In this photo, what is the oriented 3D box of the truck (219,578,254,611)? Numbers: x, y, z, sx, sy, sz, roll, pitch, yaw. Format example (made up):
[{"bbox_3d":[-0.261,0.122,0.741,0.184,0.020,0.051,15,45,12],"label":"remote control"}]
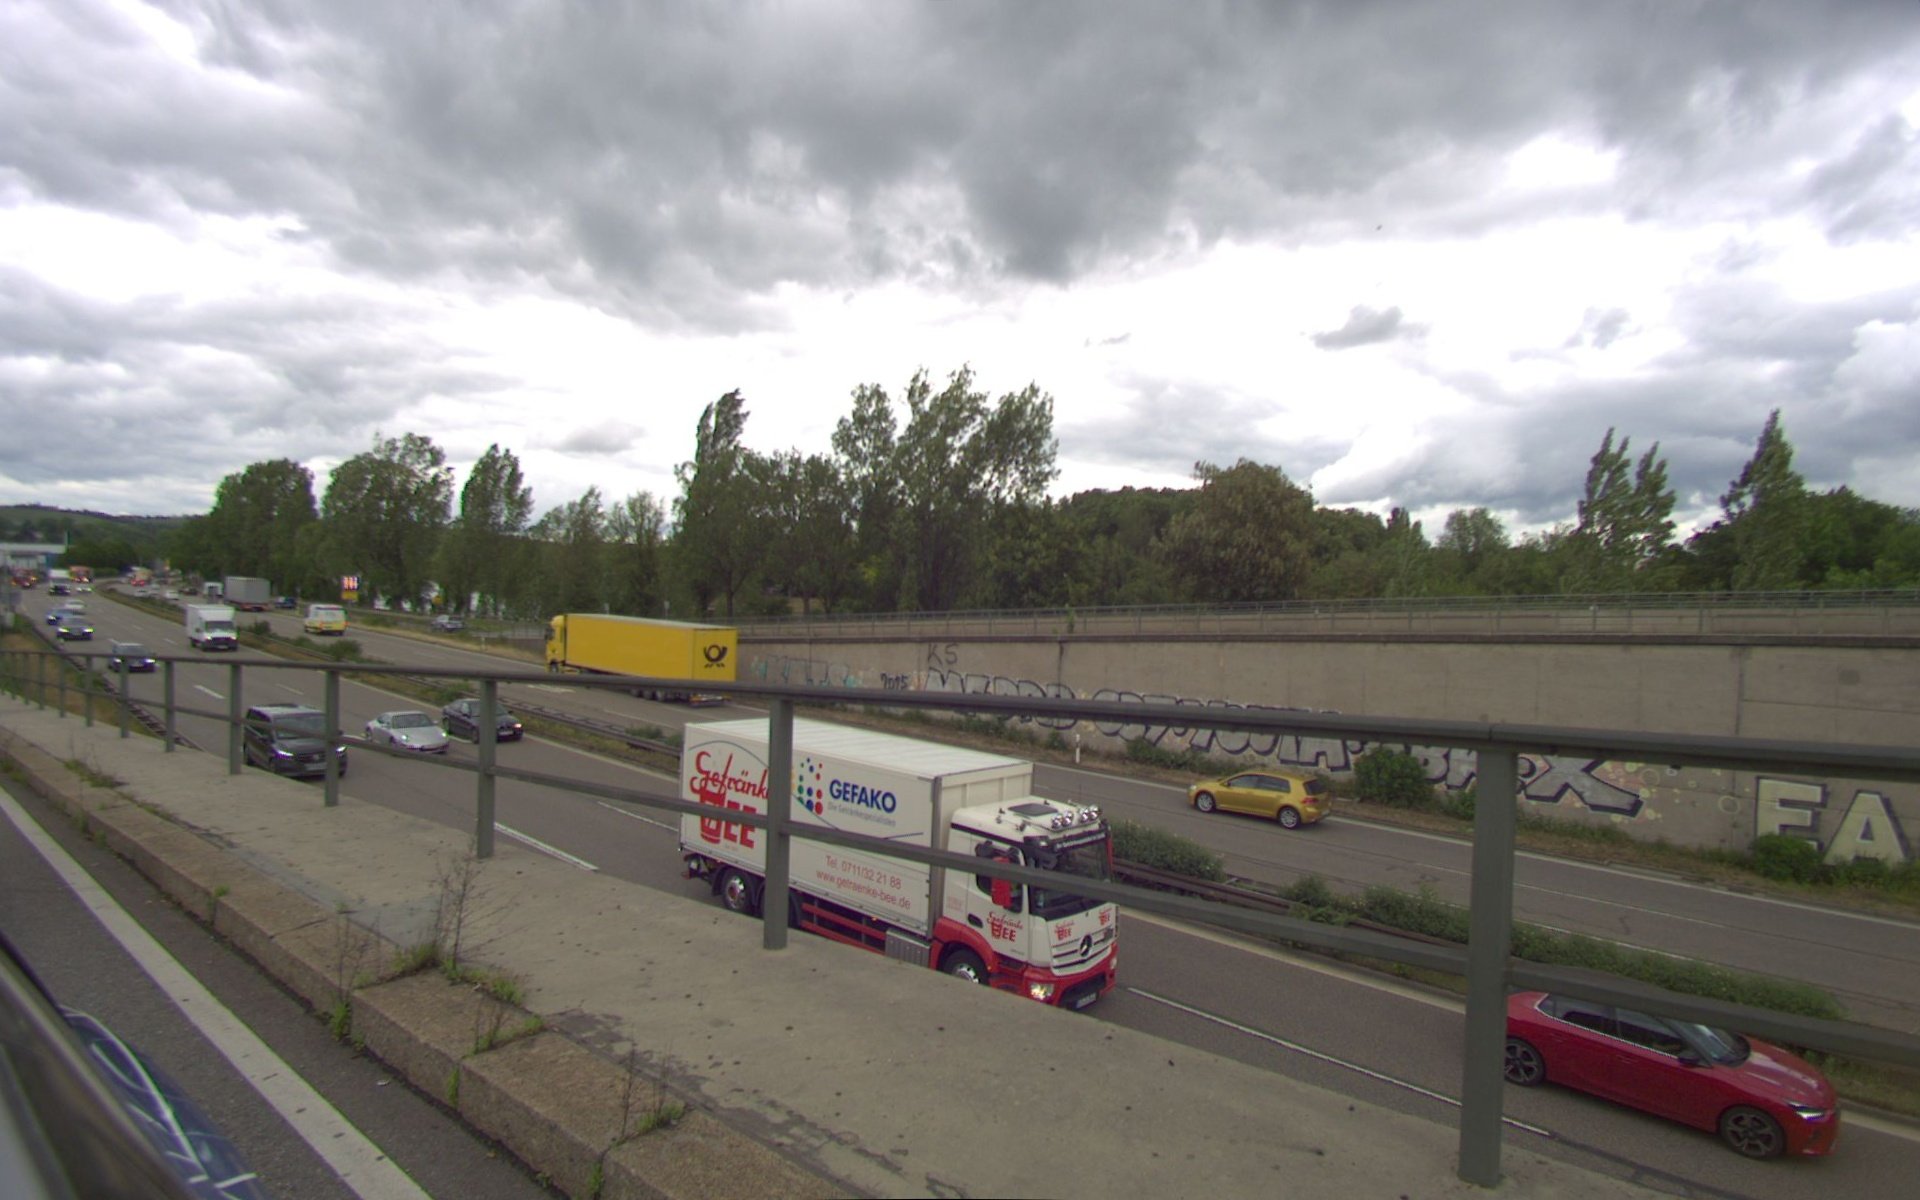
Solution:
[{"bbox_3d":[-95.196,-0.744,133.139,5.939,4.170,2.755,3,1,45],"label":"truck"}]

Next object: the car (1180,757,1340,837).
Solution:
[{"bbox_3d":[8.865,5.780,30.082,4.152,1.468,1.848,2,0,41],"label":"car"}]

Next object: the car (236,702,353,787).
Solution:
[{"bbox_3d":[-20.419,4.333,30.980,4.425,1.853,1.972,2,0,43],"label":"car"}]

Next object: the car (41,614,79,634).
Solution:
[{"bbox_3d":[-79.509,2.093,89.376,3.999,1.544,1.973,2,-1,41],"label":"car"}]

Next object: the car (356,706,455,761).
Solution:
[{"bbox_3d":[-19.413,4.620,35.367,4.153,1.311,1.766,2,0,43],"label":"car"}]

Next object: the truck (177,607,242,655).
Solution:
[{"bbox_3d":[-52.872,2.103,71.208,7.229,3.031,2.210,2,1,41],"label":"truck"}]

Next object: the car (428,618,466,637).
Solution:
[{"bbox_3d":[-48.491,2.567,95.636,4.378,1.664,1.872,1,2,43],"label":"car"}]

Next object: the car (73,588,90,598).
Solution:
[{"bbox_3d":[-157.950,-1.267,182.020,4.439,1.582,1.830,3,2,43],"label":"car"}]

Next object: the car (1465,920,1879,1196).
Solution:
[{"bbox_3d":[9.106,5.676,13.173,4.183,1.590,1.810,2,2,43],"label":"car"}]

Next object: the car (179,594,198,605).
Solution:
[{"bbox_3d":[-142.694,-0.105,187.146,4.562,1.831,1.861,2,-3,42],"label":"car"}]

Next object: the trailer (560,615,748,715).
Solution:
[{"bbox_3d":[-16.794,3.227,54.483,13.683,4.294,3.205,2,0,44],"label":"trailer"}]

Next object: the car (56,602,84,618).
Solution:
[{"bbox_3d":[-92.766,1.031,105.475,3.335,1.539,1.746,2,0,41],"label":"car"}]

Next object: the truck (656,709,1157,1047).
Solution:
[{"bbox_3d":[-1.522,4.293,18.320,9.872,3.552,2.851,2,-1,43],"label":"truck"}]

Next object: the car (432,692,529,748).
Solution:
[{"bbox_3d":[-18.425,4.537,38.801,4.425,1.476,1.838,2,2,43],"label":"car"}]

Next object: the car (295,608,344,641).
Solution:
[{"bbox_3d":[-56.546,2.134,89.288,6.715,2.648,1.972,2,-1,43],"label":"car"}]

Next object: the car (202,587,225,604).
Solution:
[{"bbox_3d":[-127.821,-0.758,173.287,5.180,2.669,1.972,2,-3,42],"label":"car"}]

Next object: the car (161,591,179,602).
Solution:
[{"bbox_3d":[-123.157,-0.570,157.808,4.002,1.431,1.660,3,0,44],"label":"car"}]

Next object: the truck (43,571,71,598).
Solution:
[{"bbox_3d":[-145.791,-2.489,163.370,2.968,4.140,5.879,3,0,-44],"label":"truck"}]

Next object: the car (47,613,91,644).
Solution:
[{"bbox_3d":[-65.093,2.084,73.942,4.001,2.029,1.971,2,-1,43],"label":"car"}]

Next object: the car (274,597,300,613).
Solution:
[{"bbox_3d":[-92.216,0.694,138.658,1.970,1.914,4.587,6,-3,-44],"label":"car"}]

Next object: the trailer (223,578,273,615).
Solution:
[{"bbox_3d":[-90.429,-0.501,128.371,13.772,4.170,2.755,3,1,45],"label":"trailer"}]

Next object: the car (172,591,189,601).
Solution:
[{"bbox_3d":[-155.321,-0.745,201.598,4.562,1.831,1.861,2,-3,42],"label":"car"}]

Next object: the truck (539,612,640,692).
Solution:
[{"bbox_3d":[-21.733,2.950,59.231,5.805,4.213,3.205,2,0,43],"label":"truck"}]

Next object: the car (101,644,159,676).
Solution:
[{"bbox_3d":[-46.089,3.286,56.155,4.126,1.461,1.804,2,0,41],"label":"car"}]
